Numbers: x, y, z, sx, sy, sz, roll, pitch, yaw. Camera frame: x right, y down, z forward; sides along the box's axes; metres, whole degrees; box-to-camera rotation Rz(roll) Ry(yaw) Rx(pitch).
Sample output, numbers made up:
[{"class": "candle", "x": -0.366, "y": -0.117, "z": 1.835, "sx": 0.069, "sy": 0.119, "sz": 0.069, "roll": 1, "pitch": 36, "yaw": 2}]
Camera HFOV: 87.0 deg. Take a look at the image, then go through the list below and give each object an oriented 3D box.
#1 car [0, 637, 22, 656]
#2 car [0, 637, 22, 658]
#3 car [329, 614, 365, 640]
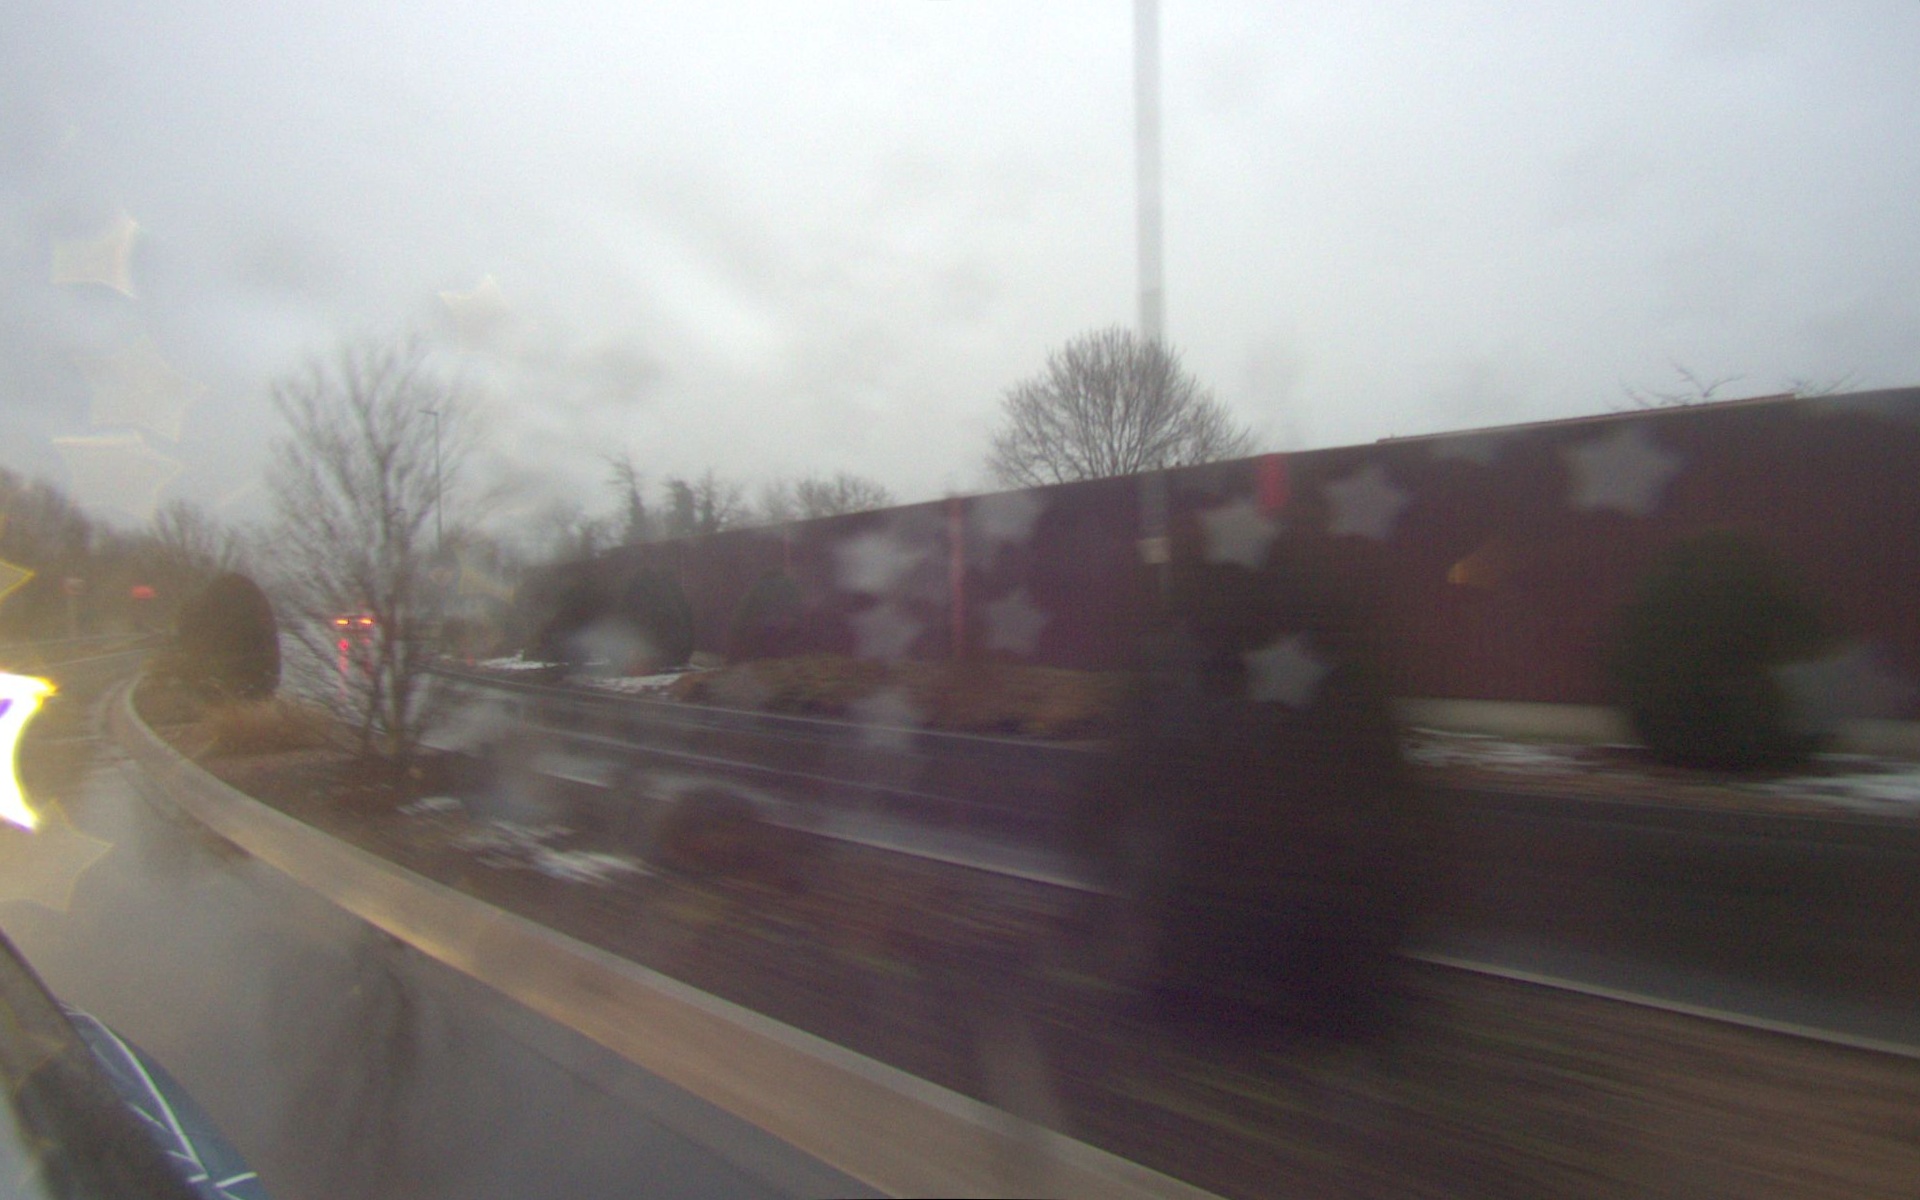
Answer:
[{"class": "car", "x": -81.557, "y": 3.925, "z": 85.070, "sx": 3.951, "sy": 1.543, "sz": 1.717, "roll": 0, "pitch": -1, "yaw": -41}, {"class": "car", "x": -77.495, "y": 3.809, "z": 80.683, "sx": 3.951, "sy": 1.609, "sz": 1.809, "roll": 0, "pitch": -1, "yaw": -41}, {"class": "car", "x": -41.512, "y": 1.798, "z": 68.504, "sx": 1.672, "sy": 1.590, "sz": 3.893, "roll": -1, "pitch": 1, "yaw": -37}]
